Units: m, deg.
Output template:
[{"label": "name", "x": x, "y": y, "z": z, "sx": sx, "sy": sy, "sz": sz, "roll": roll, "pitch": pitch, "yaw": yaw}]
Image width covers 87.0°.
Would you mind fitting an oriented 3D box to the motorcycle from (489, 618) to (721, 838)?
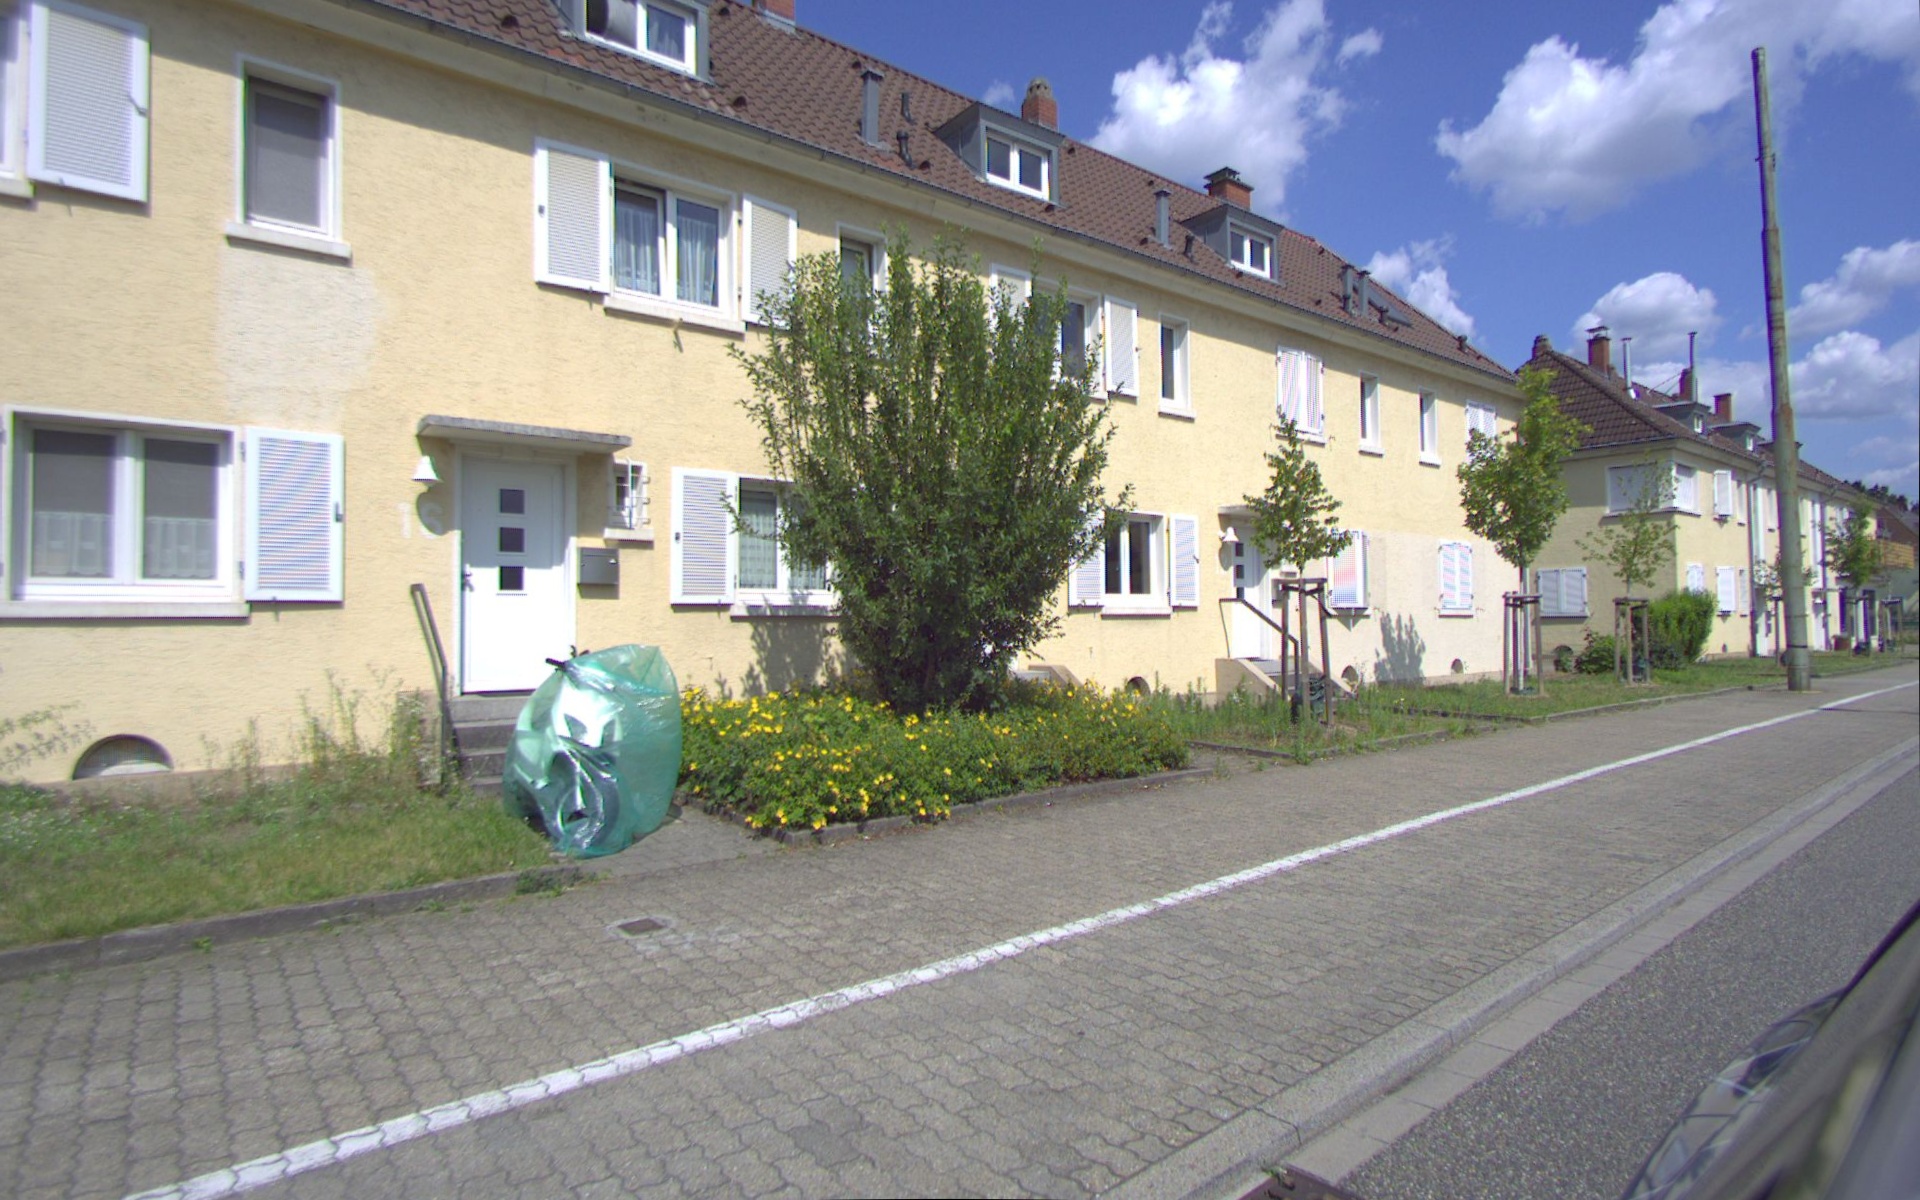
[{"label": "motorcycle", "x": -2.460, "y": 0.743, "z": 6.799, "sx": 0.838, "sy": 1.213, "sz": 2.233, "roll": 0, "pitch": -2, "yaw": -37}]
